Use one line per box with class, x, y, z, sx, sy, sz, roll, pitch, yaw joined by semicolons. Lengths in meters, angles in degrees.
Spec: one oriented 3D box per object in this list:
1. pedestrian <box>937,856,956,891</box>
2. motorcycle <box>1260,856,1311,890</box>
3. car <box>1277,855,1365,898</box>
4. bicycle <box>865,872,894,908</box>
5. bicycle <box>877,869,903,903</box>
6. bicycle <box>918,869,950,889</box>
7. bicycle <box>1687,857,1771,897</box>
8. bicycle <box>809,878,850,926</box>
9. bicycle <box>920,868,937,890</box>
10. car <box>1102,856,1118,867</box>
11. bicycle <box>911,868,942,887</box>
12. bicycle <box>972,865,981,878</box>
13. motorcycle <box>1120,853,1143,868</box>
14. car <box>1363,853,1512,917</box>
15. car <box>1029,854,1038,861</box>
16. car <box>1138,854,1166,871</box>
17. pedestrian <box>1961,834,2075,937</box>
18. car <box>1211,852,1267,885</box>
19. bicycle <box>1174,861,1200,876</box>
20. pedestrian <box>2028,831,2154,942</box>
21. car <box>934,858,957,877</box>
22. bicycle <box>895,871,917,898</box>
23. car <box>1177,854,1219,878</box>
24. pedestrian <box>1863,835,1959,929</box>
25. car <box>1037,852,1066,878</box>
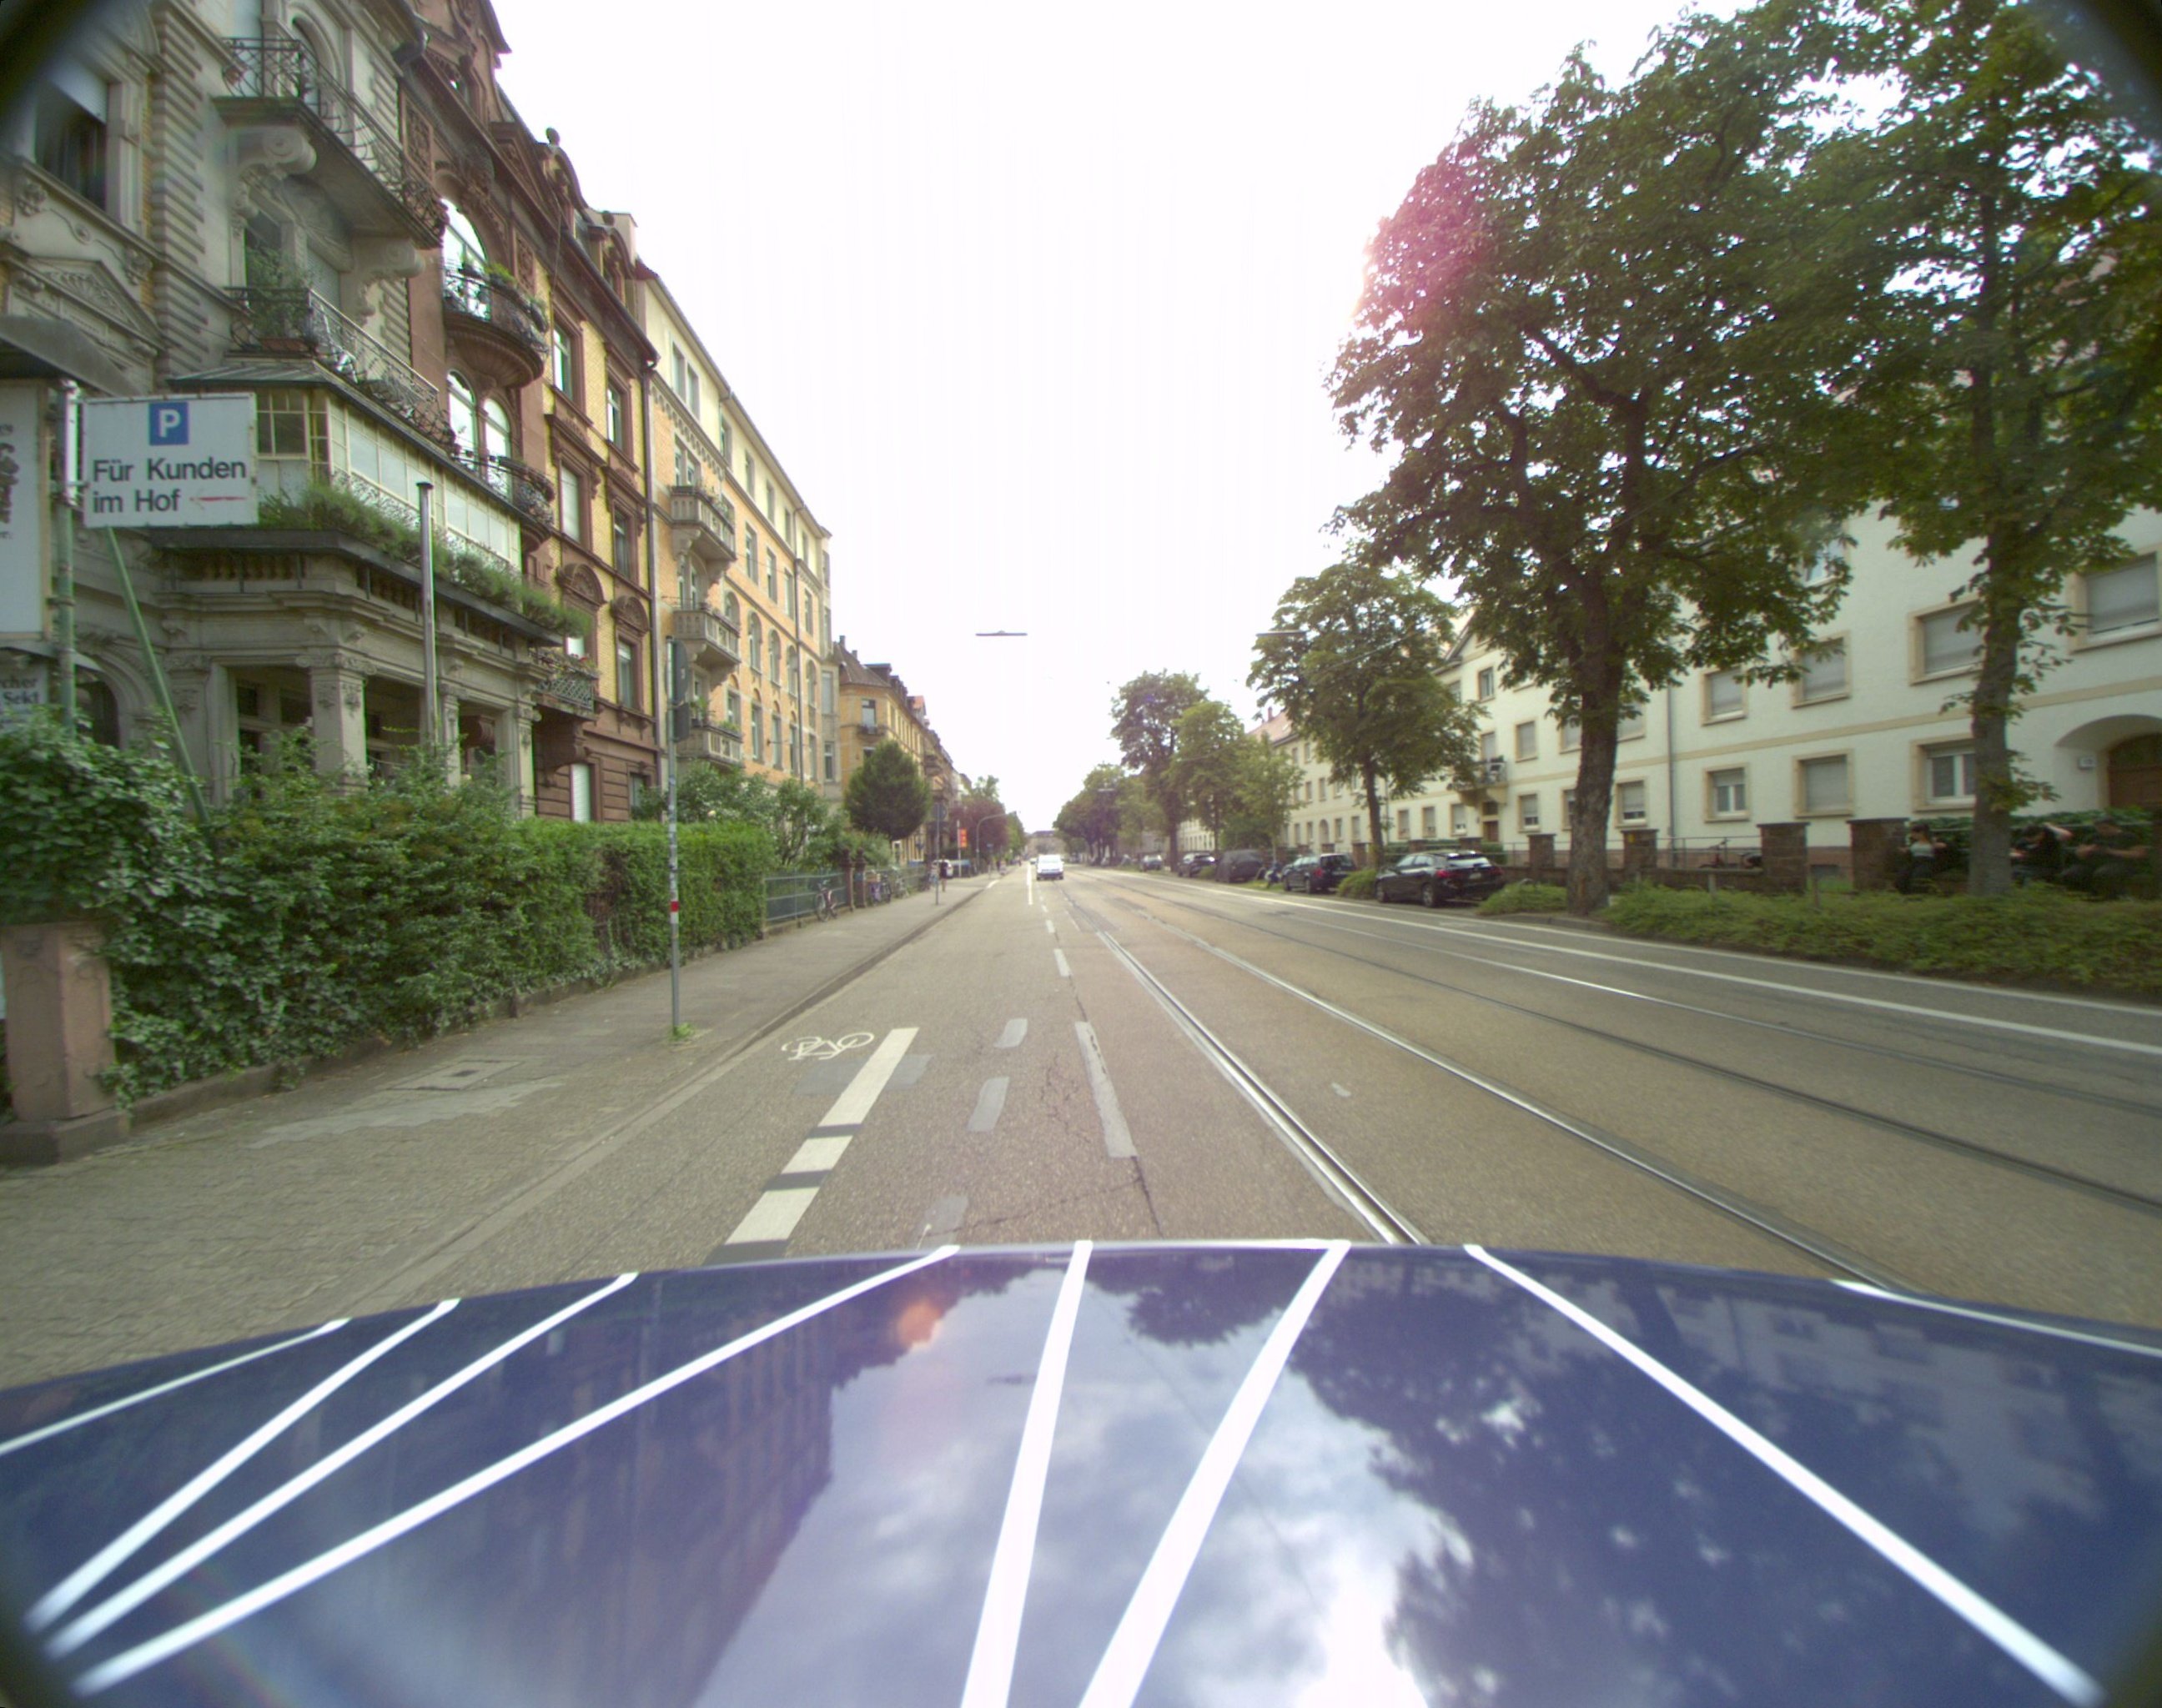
pedestrian;-6.413;0.909;36.294;0.732;1.614;0.835;-2;0;-4
motorcycle;8.746;0.806;32.493;1.872;1.253;0.591;-7;1;-7
car;8.917;0.775;28.620;1.701;1.415;4.298;-3;0;-3
bicycle;-6.558;1.151;24.745;0.580;1.105;1.671;2;0;-4
bicycle;-6.690;1.116;26.713;0.580;1.105;1.671;2;0;-4
bicycle;-8.826;1.504;45.624;0.629;1.106;1.878;-1;0;39
bicycle;14.526;0.496;17.085;0.510;0.858;1.549;-1;0;-3
bicycle;-6.402;1.188;19.388;0.580;1.105;1.671;-2;0;-4
bicycle;-7.251;1.196;36.220;0.580;0.977;1.671;2;0;-4
car;4.023;1.065;105.819;1.732;1.462;4.298;-2;0;-6
bicycle;-9.939;1.506;48.804;1.890;1.121;0.533;-2;0;13
bicycle;-9.466;1.553;68.992;0.631;1.106;1.874;-2;0;-2
motorcycle;5.585;0.695;84.124;2.312;1.382;0.838;-7;1;28
car;9.455;0.749;20.590;1.701;1.415;4.298;-5;0;-3
car;-11.410;0.862;182.133;1.947;1.675;4.000;-1;0;1
car;6.371;0.758;68.474;1.702;1.462;4.297;-2;0;-6
pedestrian;13.894;0.448;11.283;0.835;1.456;0.732;-2;0;-9
car;8.259;0.721;40.051;1.790;1.602;4.298;-2;0;-3
bicycle;7.547;1.020;53.969;1.672;0.965;0.672;-2;0;-12
pedestrian;14.005;0.434;10.554;0.835;1.456;0.732;-2;0;-9
car;-11.246;1.094;63.060;1.757;1.516;3.997;-2;0;-9
bicycle;-6.974;1.213;30.337;0.580;0.977;1.671;2;0;-4
car;7.535;0.758;49.299;1.702;1.462;4.298;-2;0;-6
pedestrian;13.793;0.453;12.644;0.835;1.503;0.732;-2;0;-9
car;-2.110;0.741;53.351;1.876;1.670;5.129;-2;0;-3
